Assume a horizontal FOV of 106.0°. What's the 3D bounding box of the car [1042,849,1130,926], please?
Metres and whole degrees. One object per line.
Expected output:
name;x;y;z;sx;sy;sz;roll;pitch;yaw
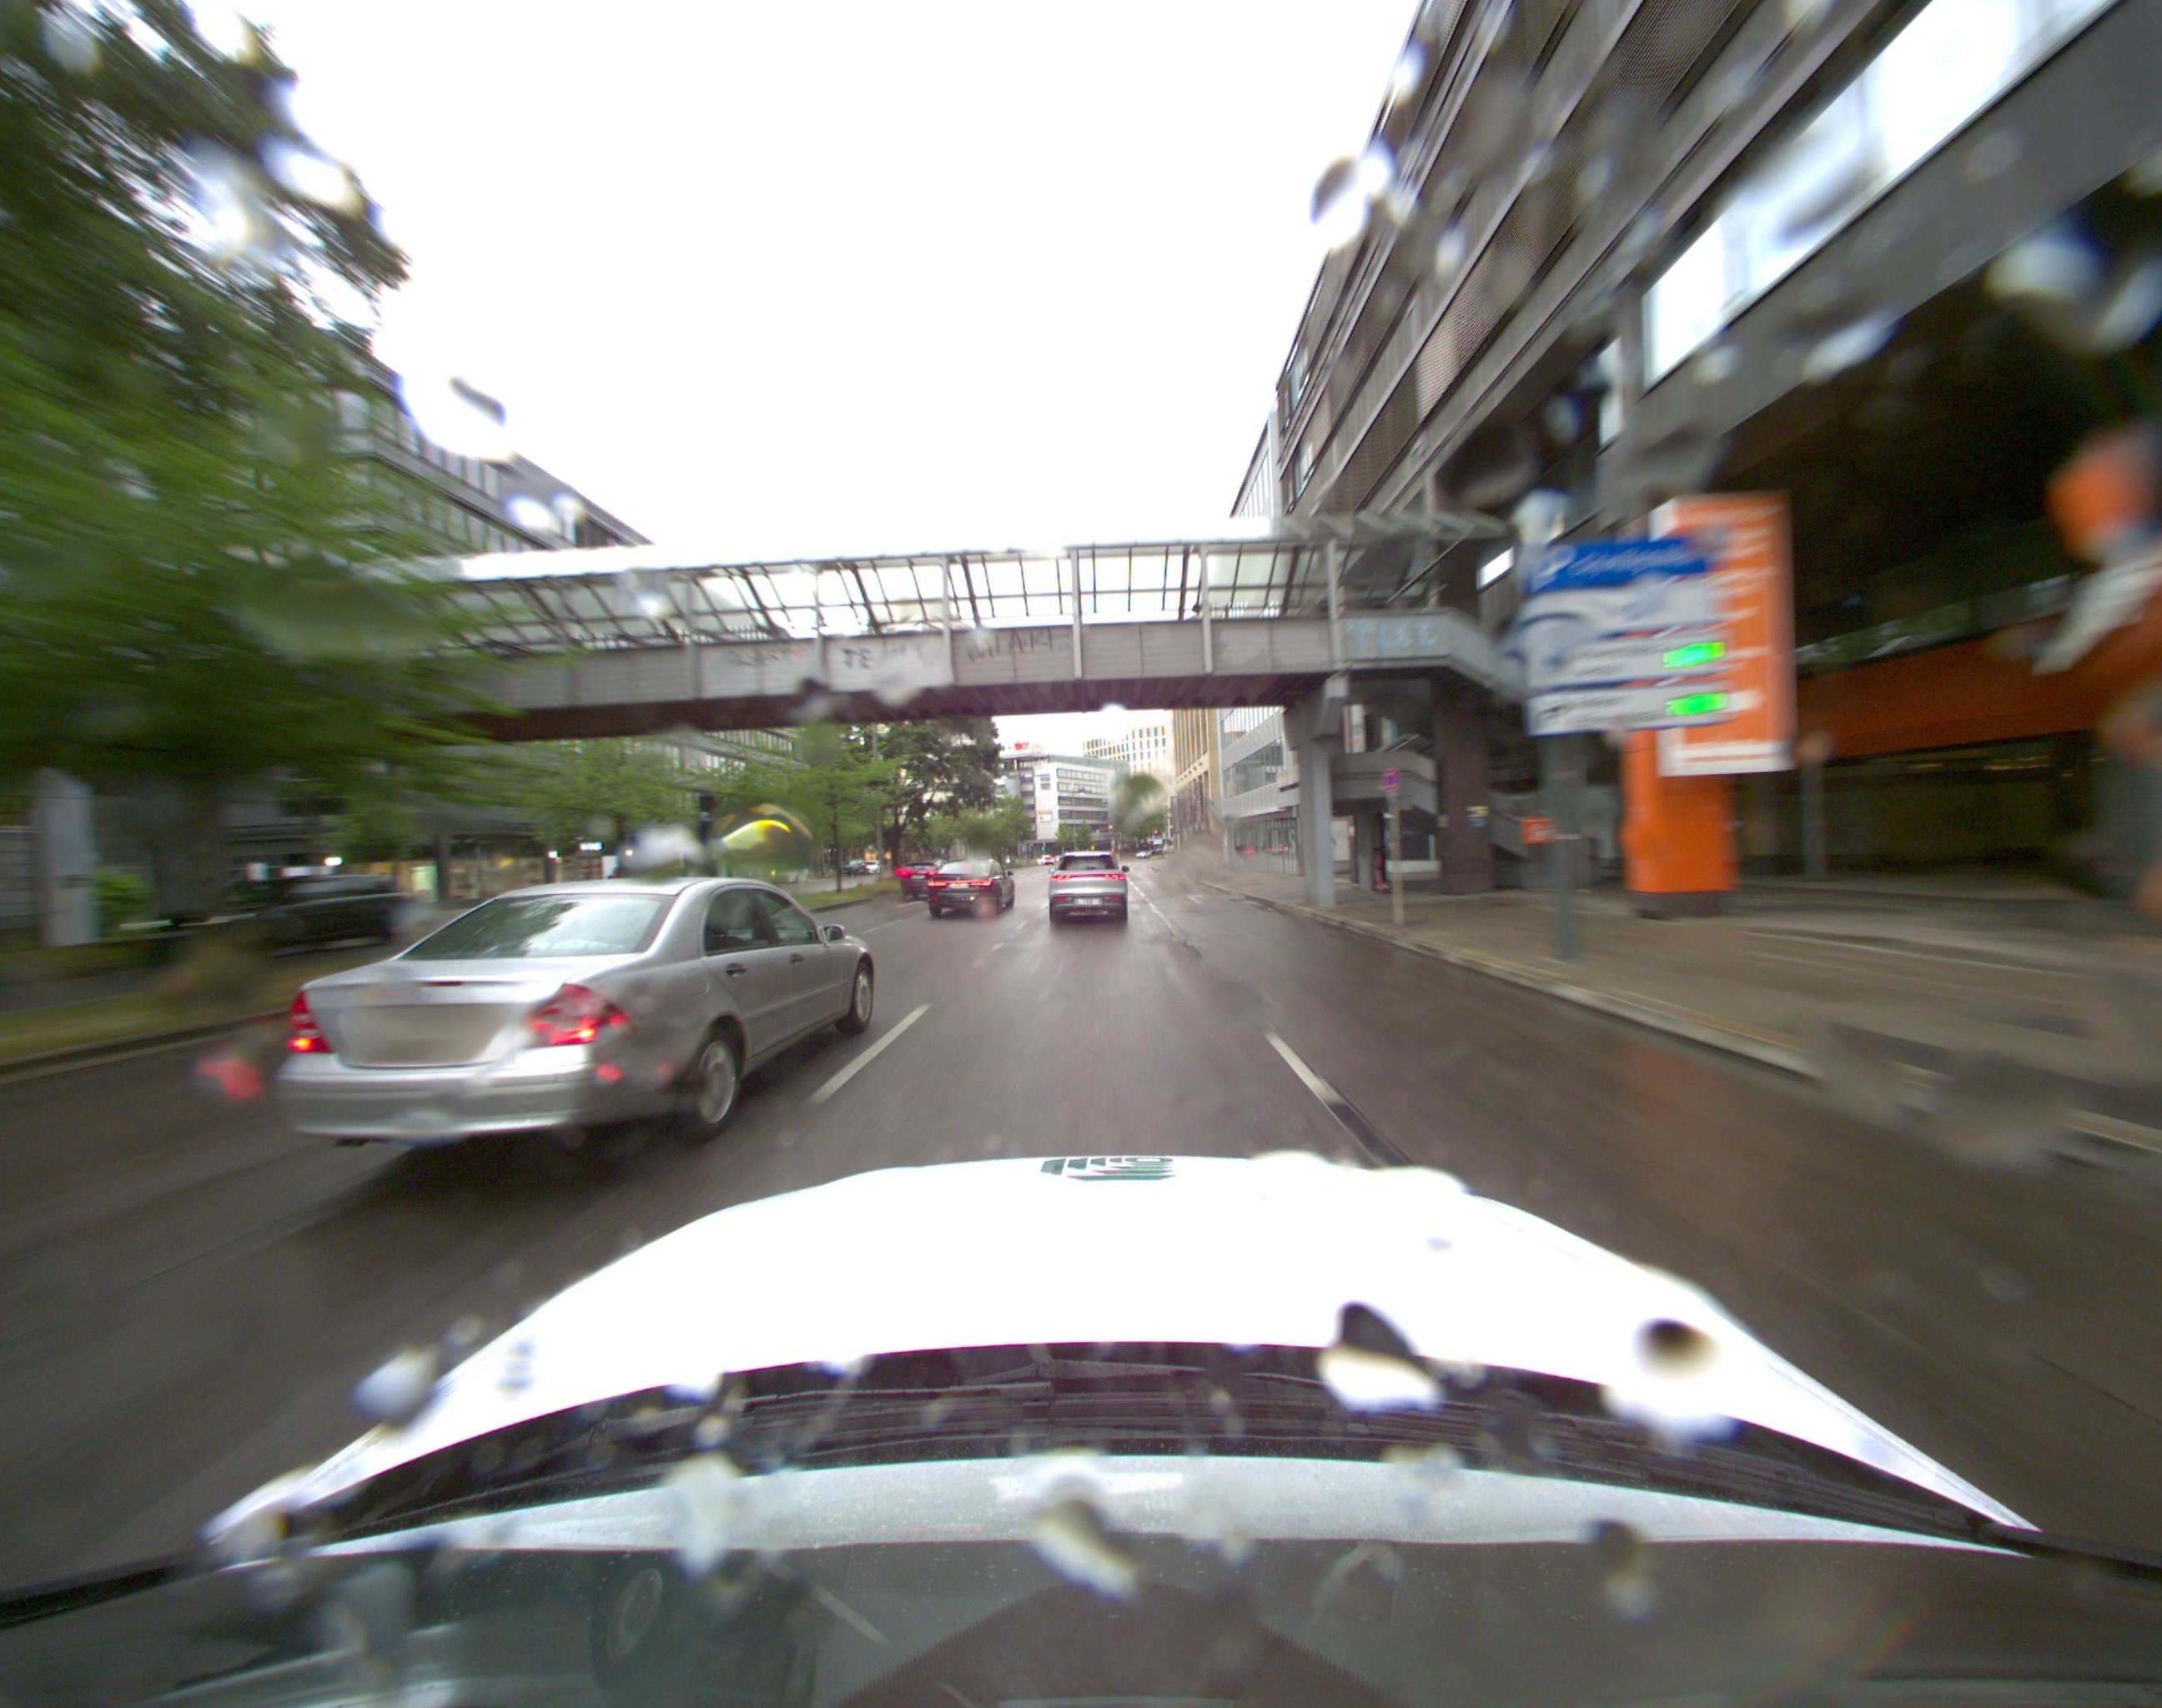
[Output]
car;0.158;0.744;19.917;1.894;1.621;4.001;-2;0;1

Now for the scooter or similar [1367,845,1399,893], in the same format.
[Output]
scooter or similar;8.281;0.399;22.363;0.348;1.256;1.395;-2;0;1

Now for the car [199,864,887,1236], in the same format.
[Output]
car;-2.772;0.842;5.572;1.666;1.479;4.362;-2;-1;2

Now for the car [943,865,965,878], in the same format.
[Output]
car;-13.537;1.837;86.898;1.618;1.311;3.617;-3;-1;0

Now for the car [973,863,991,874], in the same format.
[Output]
car;-14.153;2.033;116.407;1.615;1.492;4.314;-3;-1;6

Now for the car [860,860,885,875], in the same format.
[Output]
car;-22.017;1.443;86.267;1.618;1.460;3.962;-2;0;0

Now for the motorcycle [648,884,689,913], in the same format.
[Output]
motorcycle;-16.217;1.736;32.049;0.582;1.021;1.806;-3;0;2

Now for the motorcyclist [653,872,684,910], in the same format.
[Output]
motorcyclist;-16.225;1.458;32.058;0.635;1.418;0.970;-3;-1;2

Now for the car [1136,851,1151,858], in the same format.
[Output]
car;14.233;0.096;184.868;1.565;1.538;4.026;-2;0;32

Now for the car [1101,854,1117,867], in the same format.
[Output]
car;3.505;0.776;101.372;1.806;1.578;3.999;-2;0;0

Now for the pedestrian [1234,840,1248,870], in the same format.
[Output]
pedestrian;9.873;0.068;50.162;0.633;1.772;0.790;-3;-1;2

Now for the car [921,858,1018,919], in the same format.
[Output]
car;-3.021;0.876;23.142;1.865;1.479;4.880;-2;0;2

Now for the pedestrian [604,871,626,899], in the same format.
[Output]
pedestrian;-29.495;1.939;51.541;0.740;1.715;1.057;-3;0;1

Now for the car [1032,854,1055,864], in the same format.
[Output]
car;-5.504;0.768;119.035;1.665;1.342;3.960;-2;0;-31

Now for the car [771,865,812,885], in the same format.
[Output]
car;-22.504;1.628;63.460;1.618;1.432;4.444;-3;-1;0

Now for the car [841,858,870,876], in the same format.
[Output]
car;-22.171;1.249;80.113;1.618;1.611;4.231;-2;0;0

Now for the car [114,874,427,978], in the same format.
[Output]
car;-18.488;1.523;19.077;1.994;1.768;5.183;-6;0;-1

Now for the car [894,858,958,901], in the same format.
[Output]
car;-5.881;0.952;31.348;1.770;1.457;3.996;-3;-1;-2
